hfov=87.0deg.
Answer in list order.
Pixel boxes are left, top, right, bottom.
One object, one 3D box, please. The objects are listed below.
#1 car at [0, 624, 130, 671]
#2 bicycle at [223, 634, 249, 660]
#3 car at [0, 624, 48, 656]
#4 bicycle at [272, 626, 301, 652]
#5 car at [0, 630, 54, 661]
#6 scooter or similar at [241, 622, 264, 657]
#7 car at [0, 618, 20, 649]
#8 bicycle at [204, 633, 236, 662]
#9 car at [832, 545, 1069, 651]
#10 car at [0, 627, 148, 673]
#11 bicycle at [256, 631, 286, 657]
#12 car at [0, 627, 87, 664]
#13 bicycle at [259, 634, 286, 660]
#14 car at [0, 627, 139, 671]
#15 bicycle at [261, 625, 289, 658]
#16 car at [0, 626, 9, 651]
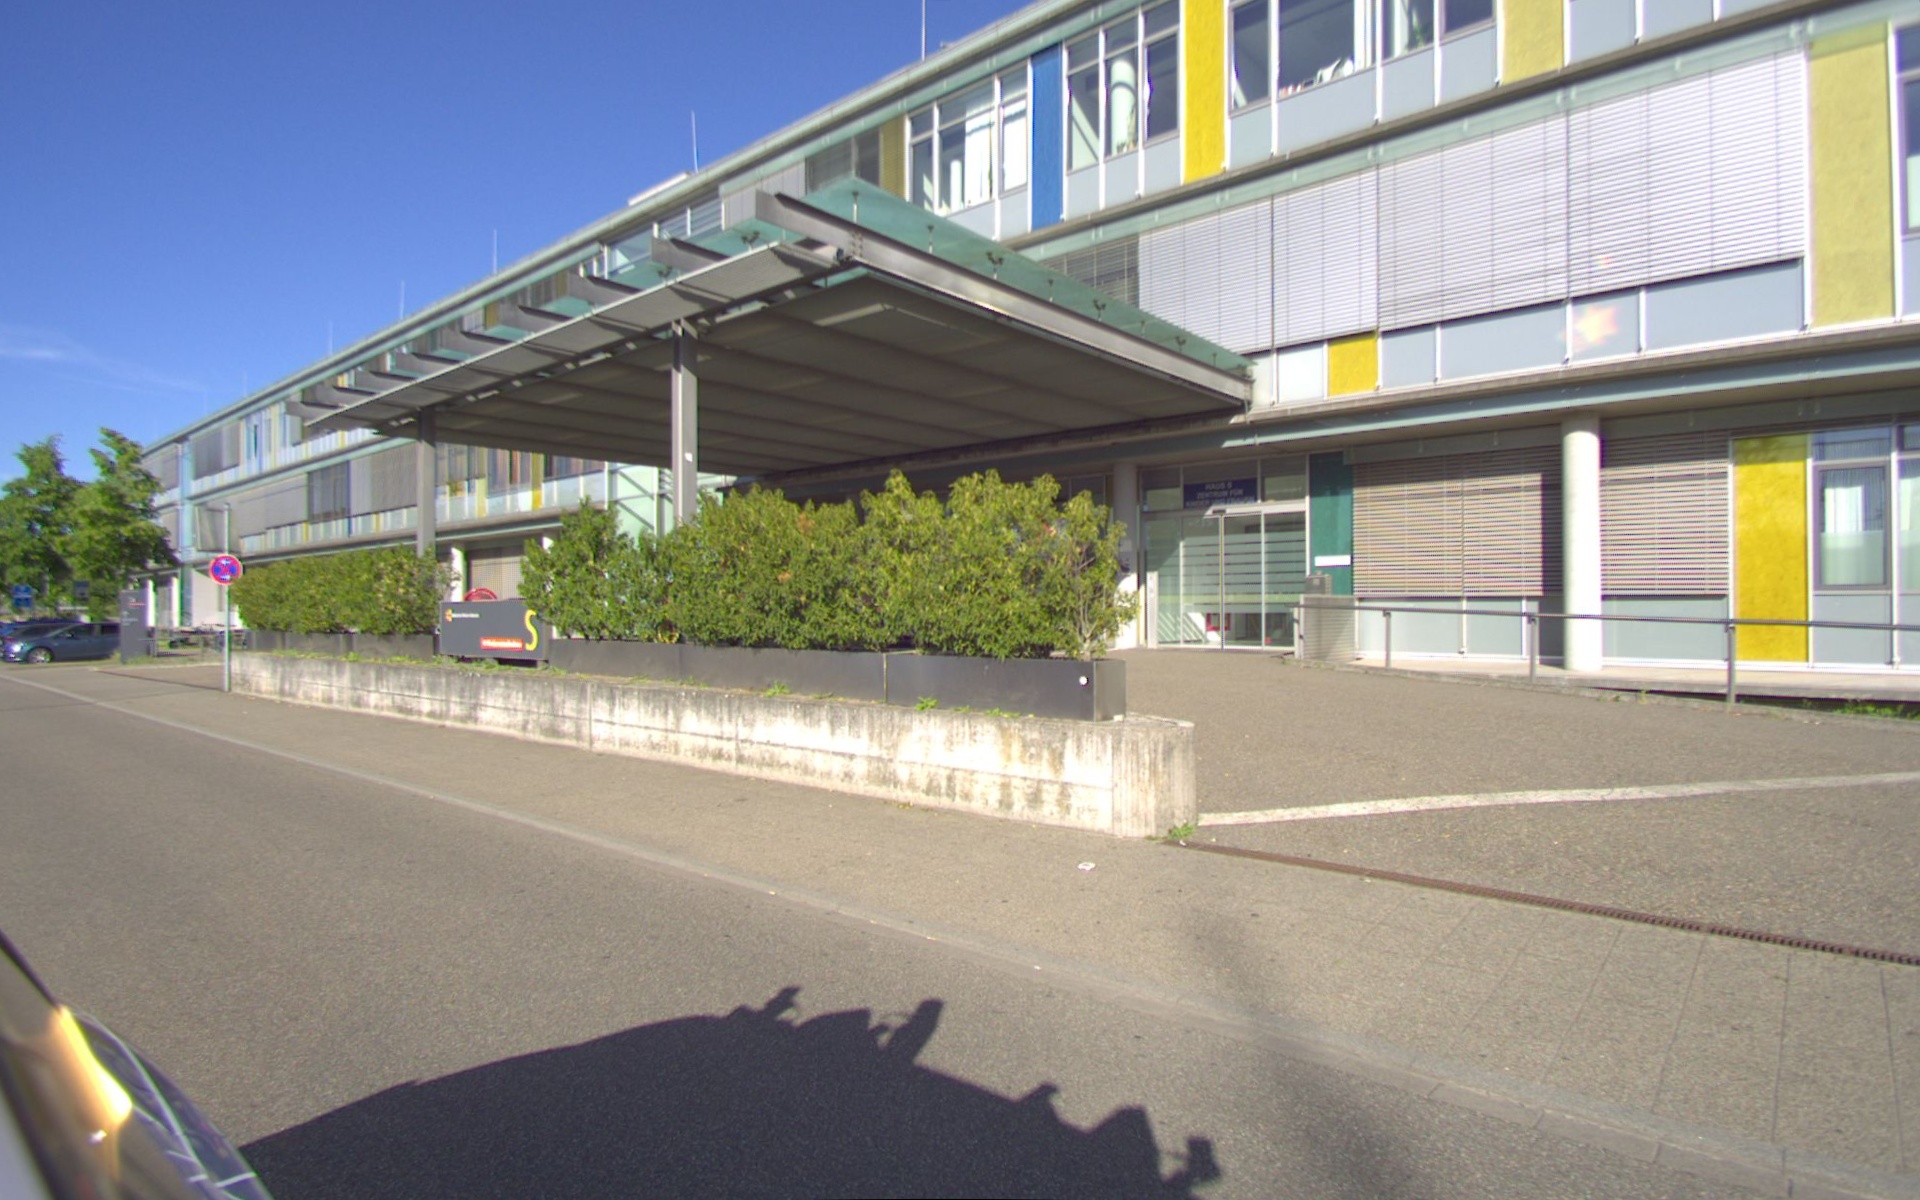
[{"bbox_3d":[-35.553,1.827,39.840,1.958,1.664,4.180,-1,-1,38],"label":"car"},{"bbox_3d":[-29.358,1.897,41.048,1.778,1.023,0.422,-1,-2,40],"label":"bicycle"},{"bbox_3d":[-52.482,2.202,54.793,1.997,1.639,4.309,-1,1,37],"label":"car"},{"bbox_3d":[-31.979,1.853,48.050,1.854,1.208,0.640,-1,-2,40],"label":"bicycle"},{"bbox_3d":[-48.454,2.330,50.924,1.822,1.433,4.051,-1,1,39],"label":"car"},{"bbox_3d":[-26.841,1.498,38.400,1.205,1.283,0.465,-2,-2,42],"label":"scooter or similar"},{"bbox_3d":[-60.091,2.134,61.415,1.999,1.877,4.302,-2,0,42],"label":"car"},{"bbox_3d":[-29.745,1.894,40.672,1.778,1.151,0.629,-1,-2,40],"label":"bicycle"},{"bbox_3d":[-0.291,0.020,20.427,4.708,1.905,1.899,-2,-2,41],"label":"car"},{"bbox_3d":[-31.858,1.745,36.224,1.752,1.478,4.090,-2,-1,39],"label":"car"},{"bbox_3d":[-30.993,1.967,45.536,1.854,1.104,0.640,-1,-2,40],"label":"bicycle"},{"bbox_3d":[-42.823,2.085,46.398,1.822,1.499,3.942,-1,1,39],"label":"car"},{"bbox_3d":[-27.994,1.889,41.214,1.778,1.023,0.442,-1,-2,40],"label":"bicycle"},{"bbox_3d":[-33.620,1.802,38.082,1.729,1.448,3.948,-1,-1,38],"label":"car"},{"bbox_3d":[-26.631,1.623,39.347,1.648,1.056,0.349,-12,-8,35],"label":"bicycle"},{"bbox_3d":[-66.226,2.630,67.300,4.298,1.659,2.001,-2,1,-44],"label":"car"}]
